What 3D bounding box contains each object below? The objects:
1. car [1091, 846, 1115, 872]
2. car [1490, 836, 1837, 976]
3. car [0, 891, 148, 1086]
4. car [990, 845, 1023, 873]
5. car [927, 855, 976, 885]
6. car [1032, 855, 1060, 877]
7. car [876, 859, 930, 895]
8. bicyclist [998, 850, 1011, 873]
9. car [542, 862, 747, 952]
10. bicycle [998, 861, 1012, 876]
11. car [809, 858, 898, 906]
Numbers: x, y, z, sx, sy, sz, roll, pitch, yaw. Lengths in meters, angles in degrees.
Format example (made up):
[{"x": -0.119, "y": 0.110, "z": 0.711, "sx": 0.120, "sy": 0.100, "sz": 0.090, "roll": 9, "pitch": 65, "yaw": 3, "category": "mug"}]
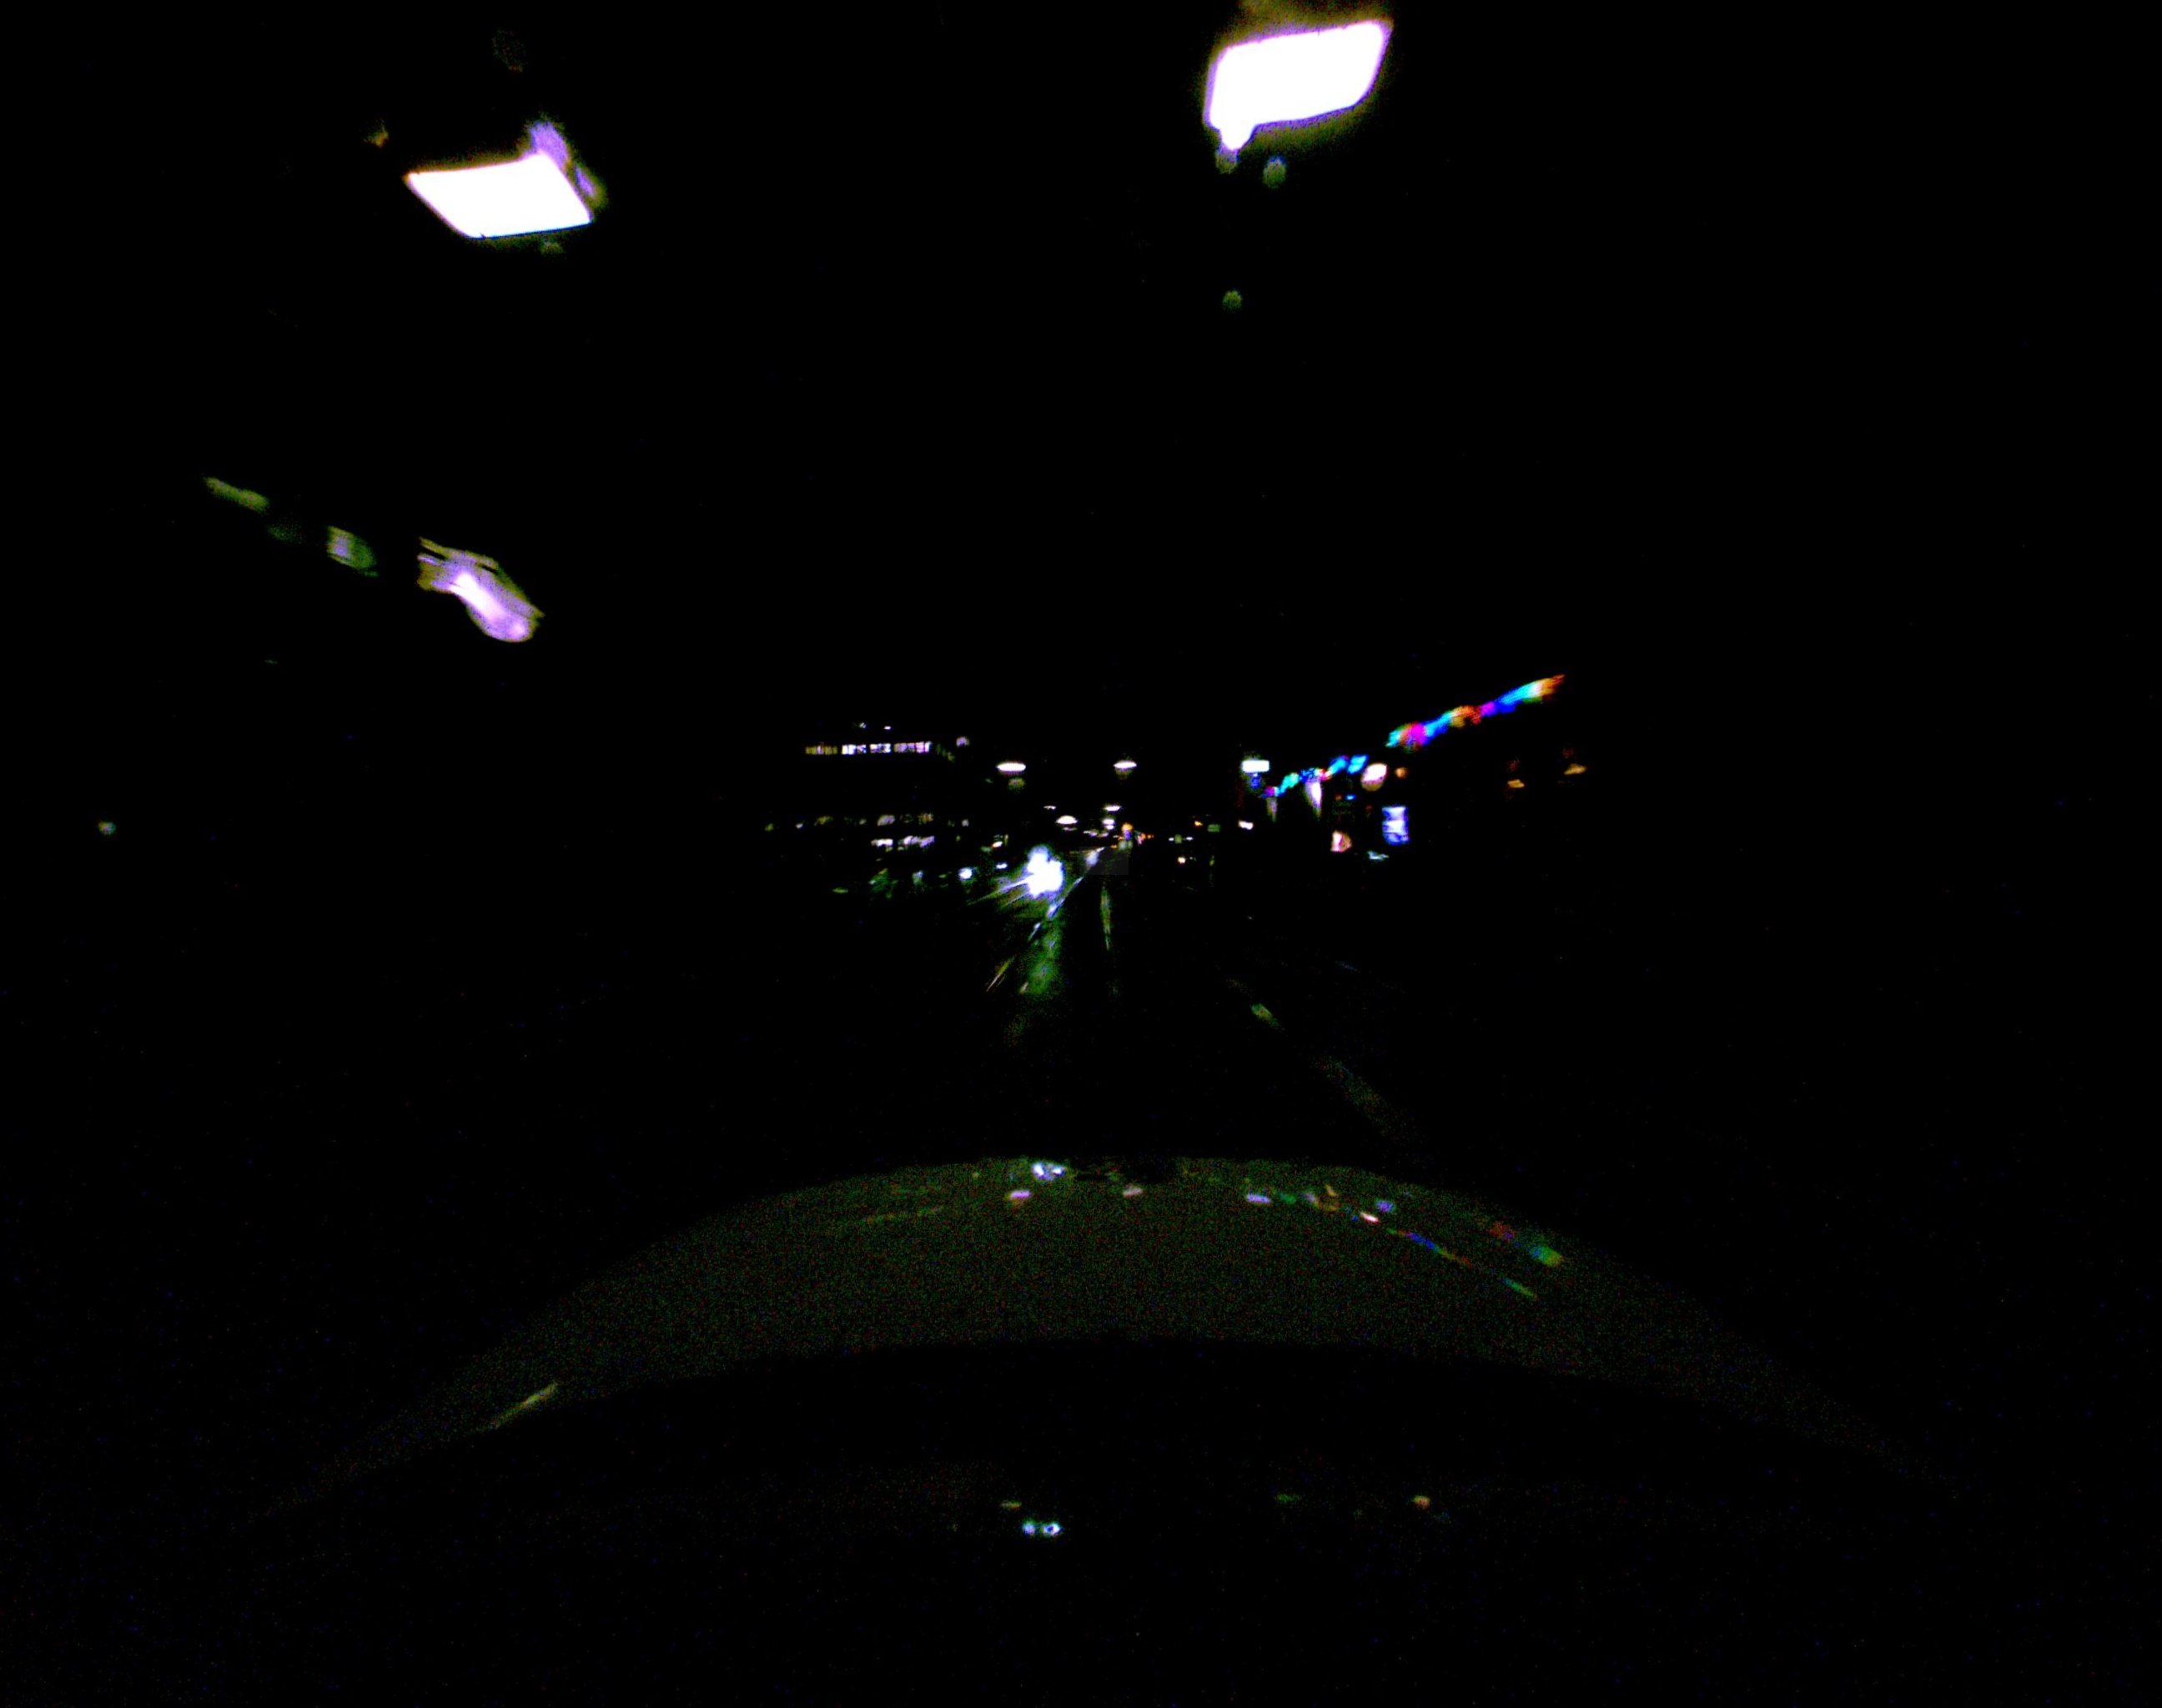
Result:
[{"x": 2.095, "y": 0.480, "z": 79.489, "sx": 2.237, "sy": 2.361, "sz": 4.393, "roll": -1, "pitch": 0, "yaw": 0, "category": "car"}, {"x": 7.729, "y": 0.572, "z": 10.811, "sx": 4.112, "sy": 1.537, "sz": 1.945, "roll": -1, "pitch": 0, "yaw": -24, "category": "car"}, {"x": -9.234, "y": 1.085, "z": 4.798, "sx": 1.884, "sy": 1.463, "sz": 4.954, "roll": -2, "pitch": 0, "yaw": -3, "category": "car"}, {"x": -7.274, "y": 0.465, "z": 80.180, "sx": 2.176, "sy": 2.591, "sz": 6.398, "roll": -1, "pitch": 1, "yaw": 3, "category": "car"}, {"x": -7.711, "y": 0.912, "z": 48.776, "sx": 1.961, "sy": 1.655, "sz": 4.604, "roll": 1, "pitch": 0, "yaw": 3, "category": "car"}, {"x": -2.643, "y": 0.900, "z": 61.799, "sx": 1.769, "sy": 1.517, "sz": 4.052, "roll": -1, "pitch": 0, "yaw": 2, "category": "car"}, {"x": -8.154, "y": 1.019, "z": 37.534, "sx": 1.686, "sy": 1.421, "sz": 3.912, "roll": -2, "pitch": 0, "yaw": -2, "category": "car"}, {"x": -5.707, "y": 0.549, "z": 60.720, "sx": 0.780, "sy": 1.655, "sz": 1.206, "roll": -3, "pitch": -1, "yaw": 1, "category": "bicyclist"}, {"x": -8.729, "y": 0.978, "z": 16.807, "sx": 1.875, "sy": 1.545, "sz": 4.396, "roll": 2, "pitch": 0, "yaw": -2, "category": "car"}, {"x": -5.675, "y": 1.085, "z": 60.711, "sx": 0.779, "sy": 1.082, "sz": 1.919, "roll": -3, "pitch": 0, "yaw": 1, "category": "bicycle"}, {"x": -8.430, "y": 0.987, "z": 30.629, "sx": 1.976, "sy": 1.631, "sz": 4.518, "roll": -1, "pitch": 0, "yaw": 1, "category": "car"}]
